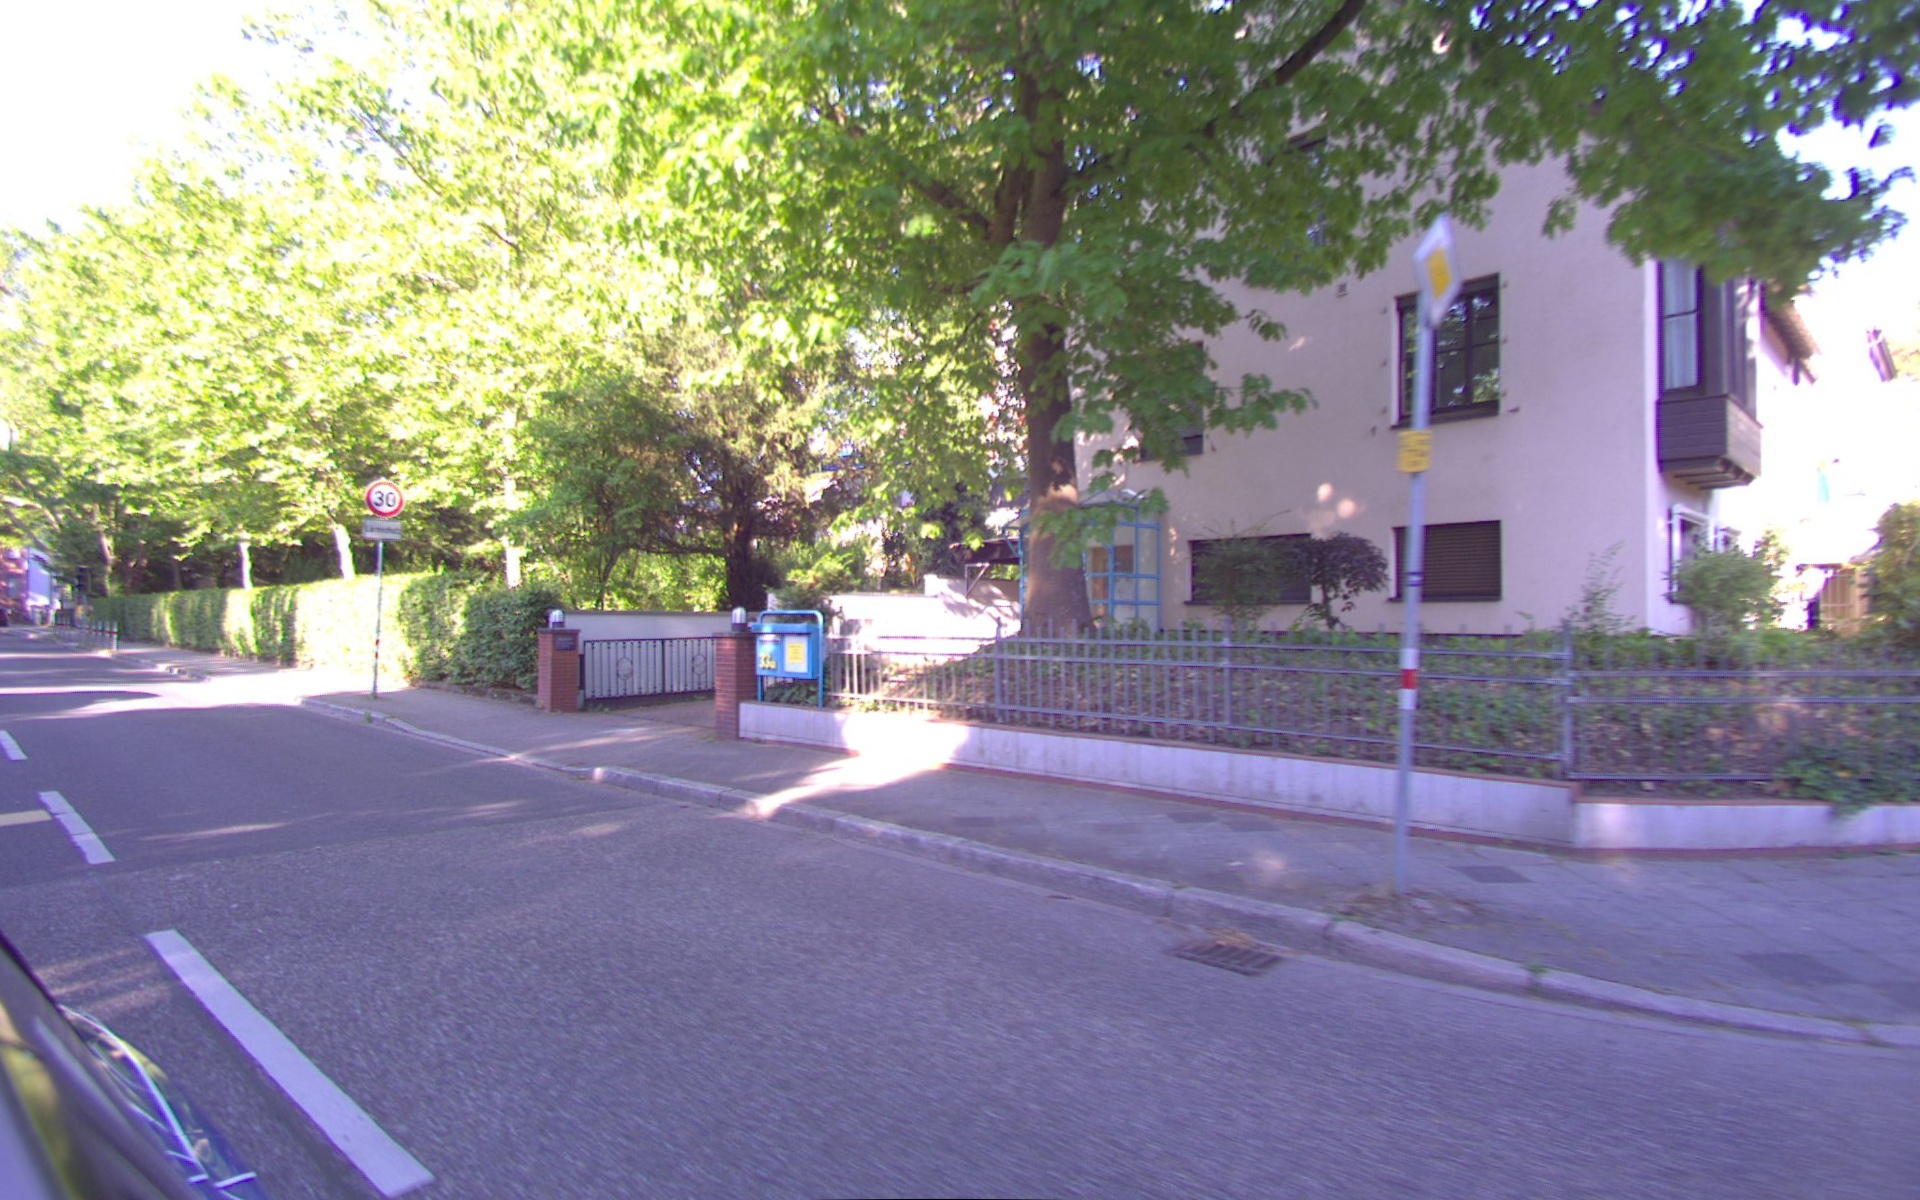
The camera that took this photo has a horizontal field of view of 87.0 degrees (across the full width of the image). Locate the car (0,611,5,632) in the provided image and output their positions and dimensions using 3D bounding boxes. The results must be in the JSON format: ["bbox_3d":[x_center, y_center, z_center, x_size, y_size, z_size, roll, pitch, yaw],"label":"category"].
[{"bbox_3d":[-66.074,1.486,68.558,3.615,1.444,1.668,-1,2,42],"label":"car"}]
